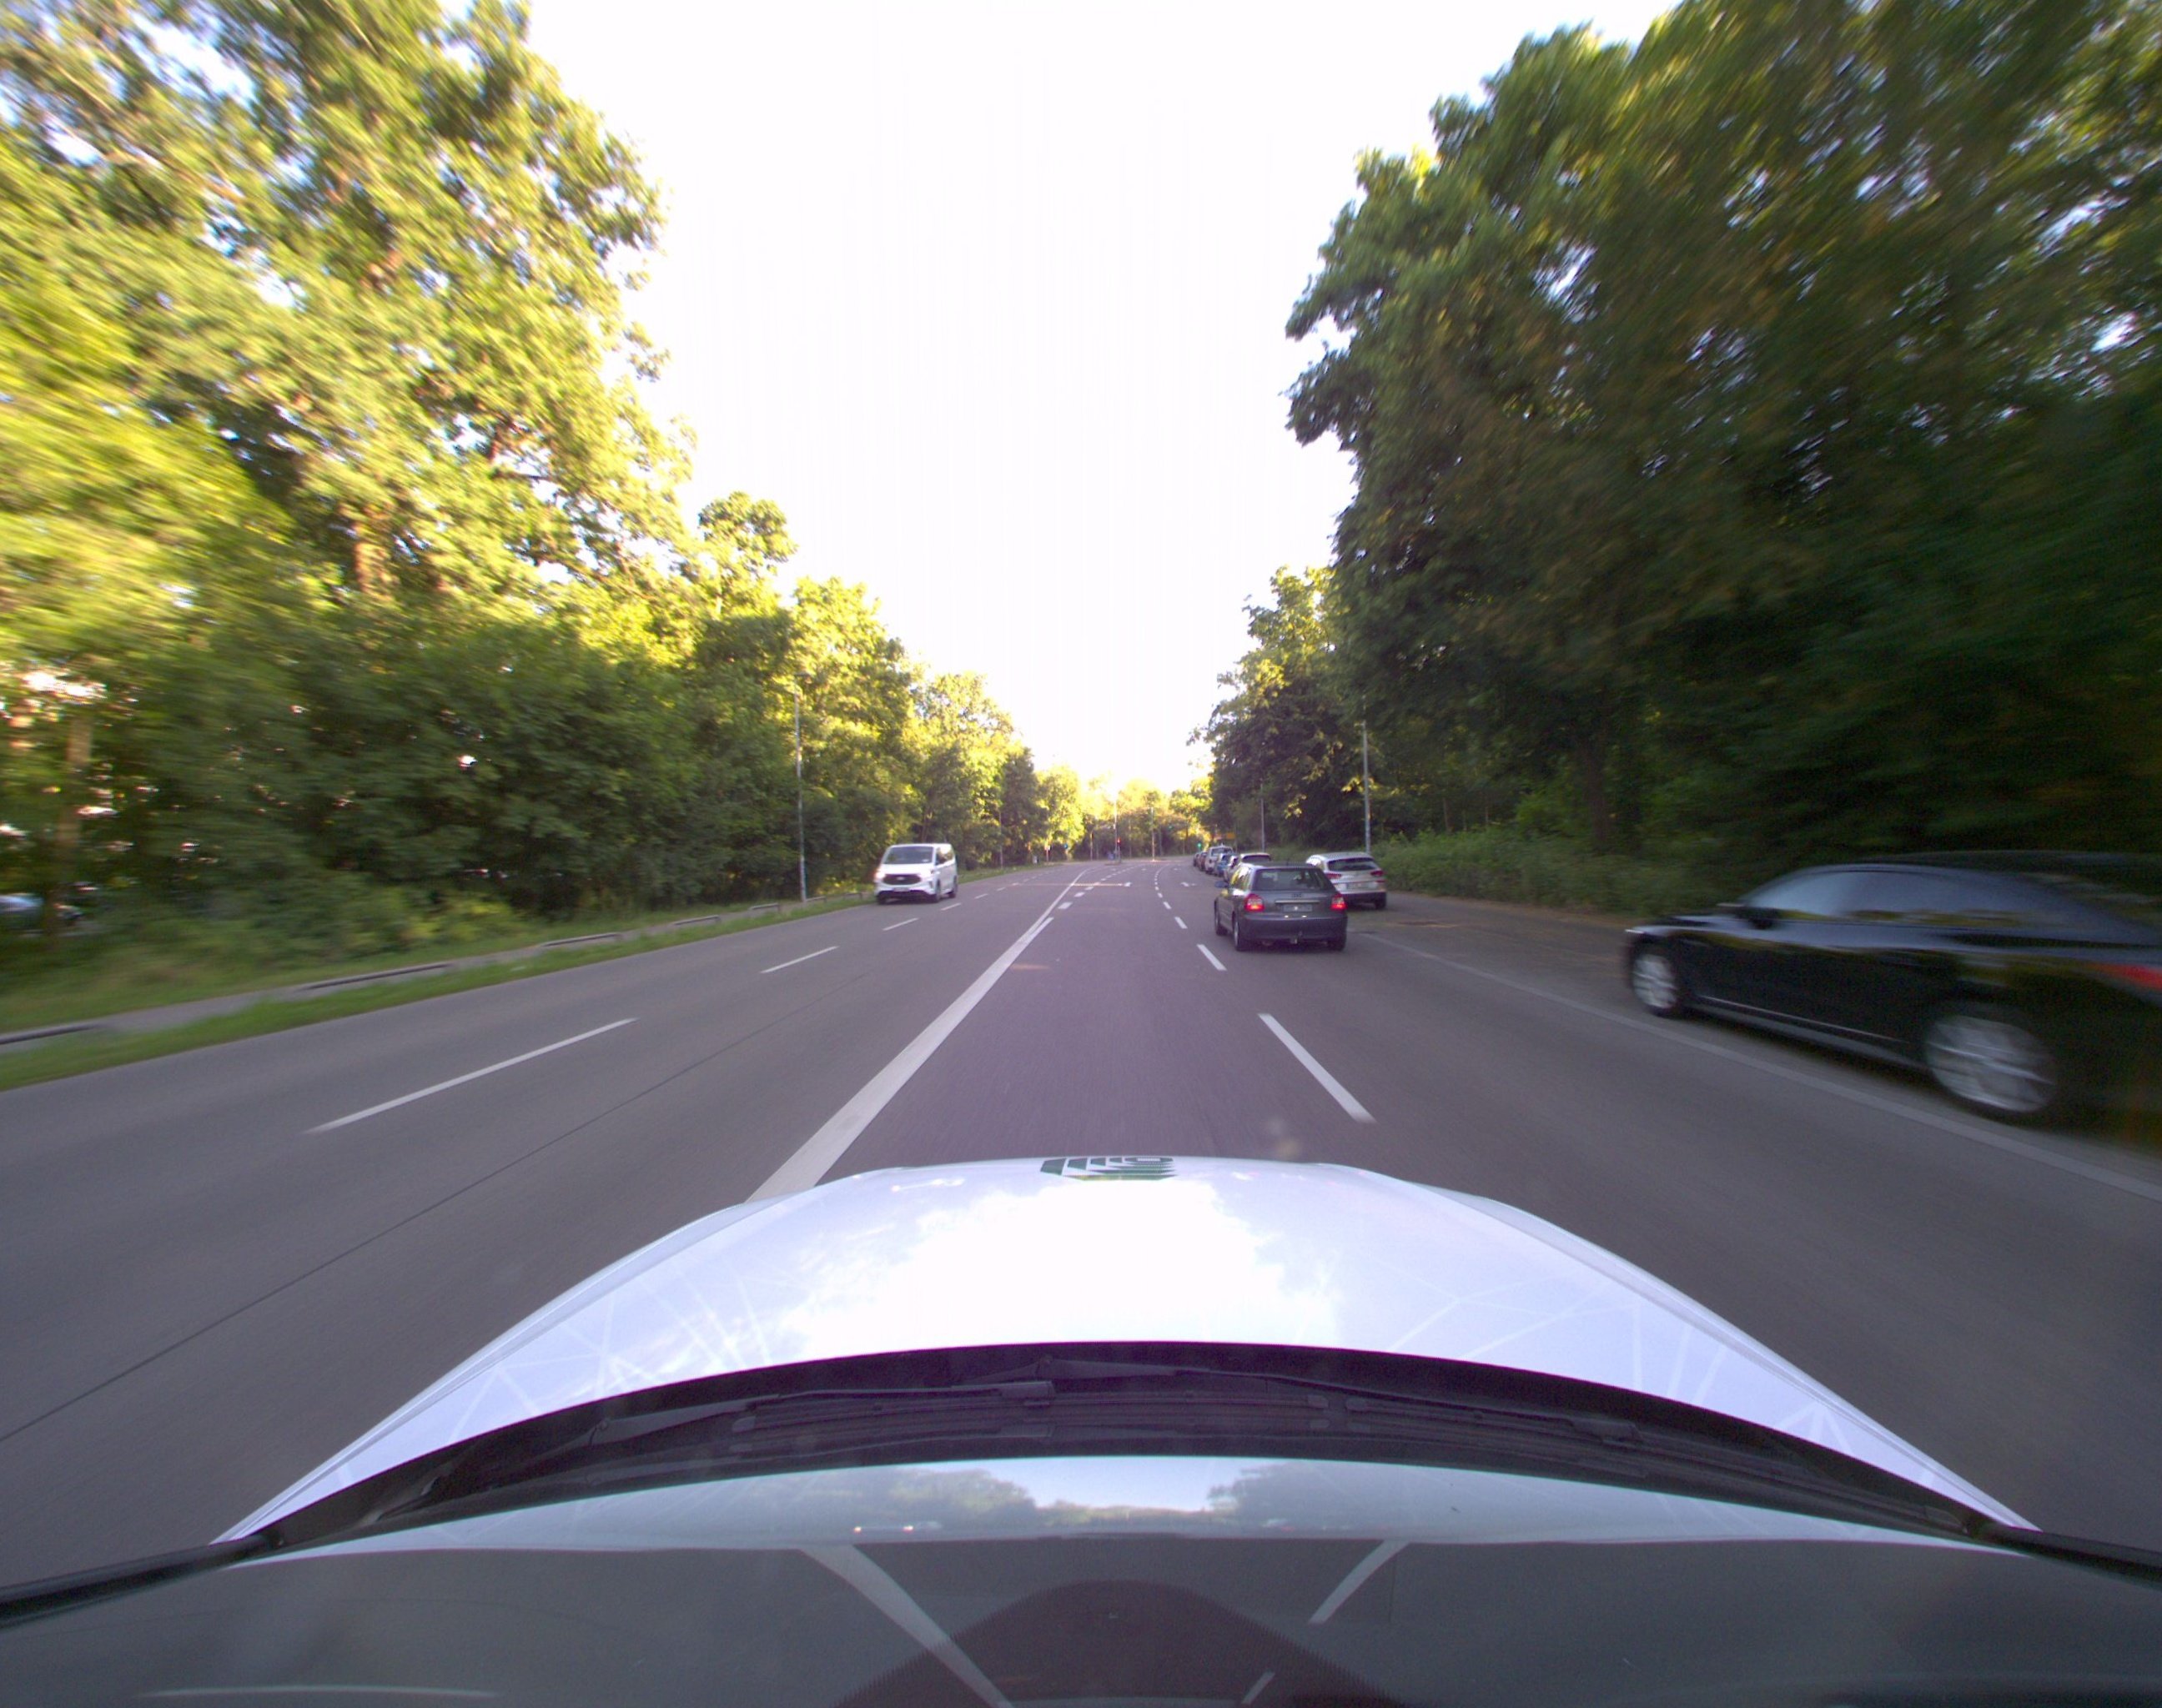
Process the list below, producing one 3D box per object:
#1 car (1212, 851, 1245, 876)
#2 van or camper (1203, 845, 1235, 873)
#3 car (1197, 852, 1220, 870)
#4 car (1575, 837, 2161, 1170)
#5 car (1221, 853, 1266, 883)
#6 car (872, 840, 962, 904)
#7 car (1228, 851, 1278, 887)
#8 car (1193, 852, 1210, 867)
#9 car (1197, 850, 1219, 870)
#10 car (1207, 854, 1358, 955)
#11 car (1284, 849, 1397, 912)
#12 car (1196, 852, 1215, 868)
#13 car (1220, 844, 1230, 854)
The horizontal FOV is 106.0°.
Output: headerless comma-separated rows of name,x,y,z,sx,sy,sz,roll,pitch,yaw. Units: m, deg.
car,9.544,0.574,52.822,1.640,1.522,3.871,-1,0,4
van or camper,9.962,0.331,59.003,1.823,1.970,5.348,-1,0,5
car,10.703,0.543,68.596,1.642,1.441,4.120,-1,0,6
car,5.958,0.666,5.964,1.831,1.441,4.961,-3,0,3
car,8.148,0.672,41.120,1.719,1.409,4.096,-2,0,5
car,-5.474,0.587,27.806,1.987,1.992,4.997,0,-1,1
car,7.669,0.640,36.654,1.719,1.522,4.096,-1,0,5
car,13.300,0.587,90.089,1.718,1.461,4.175,-3,0,7
car,11.520,0.513,73.981,1.719,1.704,4.097,-3,0,6
car,3.284,0.743,14.036,1.721,1.441,4.092,-1,0,2
car,6.798,0.625,21.841,1.720,1.441,4.670,-3,0,3
car,12.901,0.576,84.593,1.718,1.490,4.098,-3,0,7
car,33.797,-1.148,191.030,2.293,2.336,4.574,-1,0,11
